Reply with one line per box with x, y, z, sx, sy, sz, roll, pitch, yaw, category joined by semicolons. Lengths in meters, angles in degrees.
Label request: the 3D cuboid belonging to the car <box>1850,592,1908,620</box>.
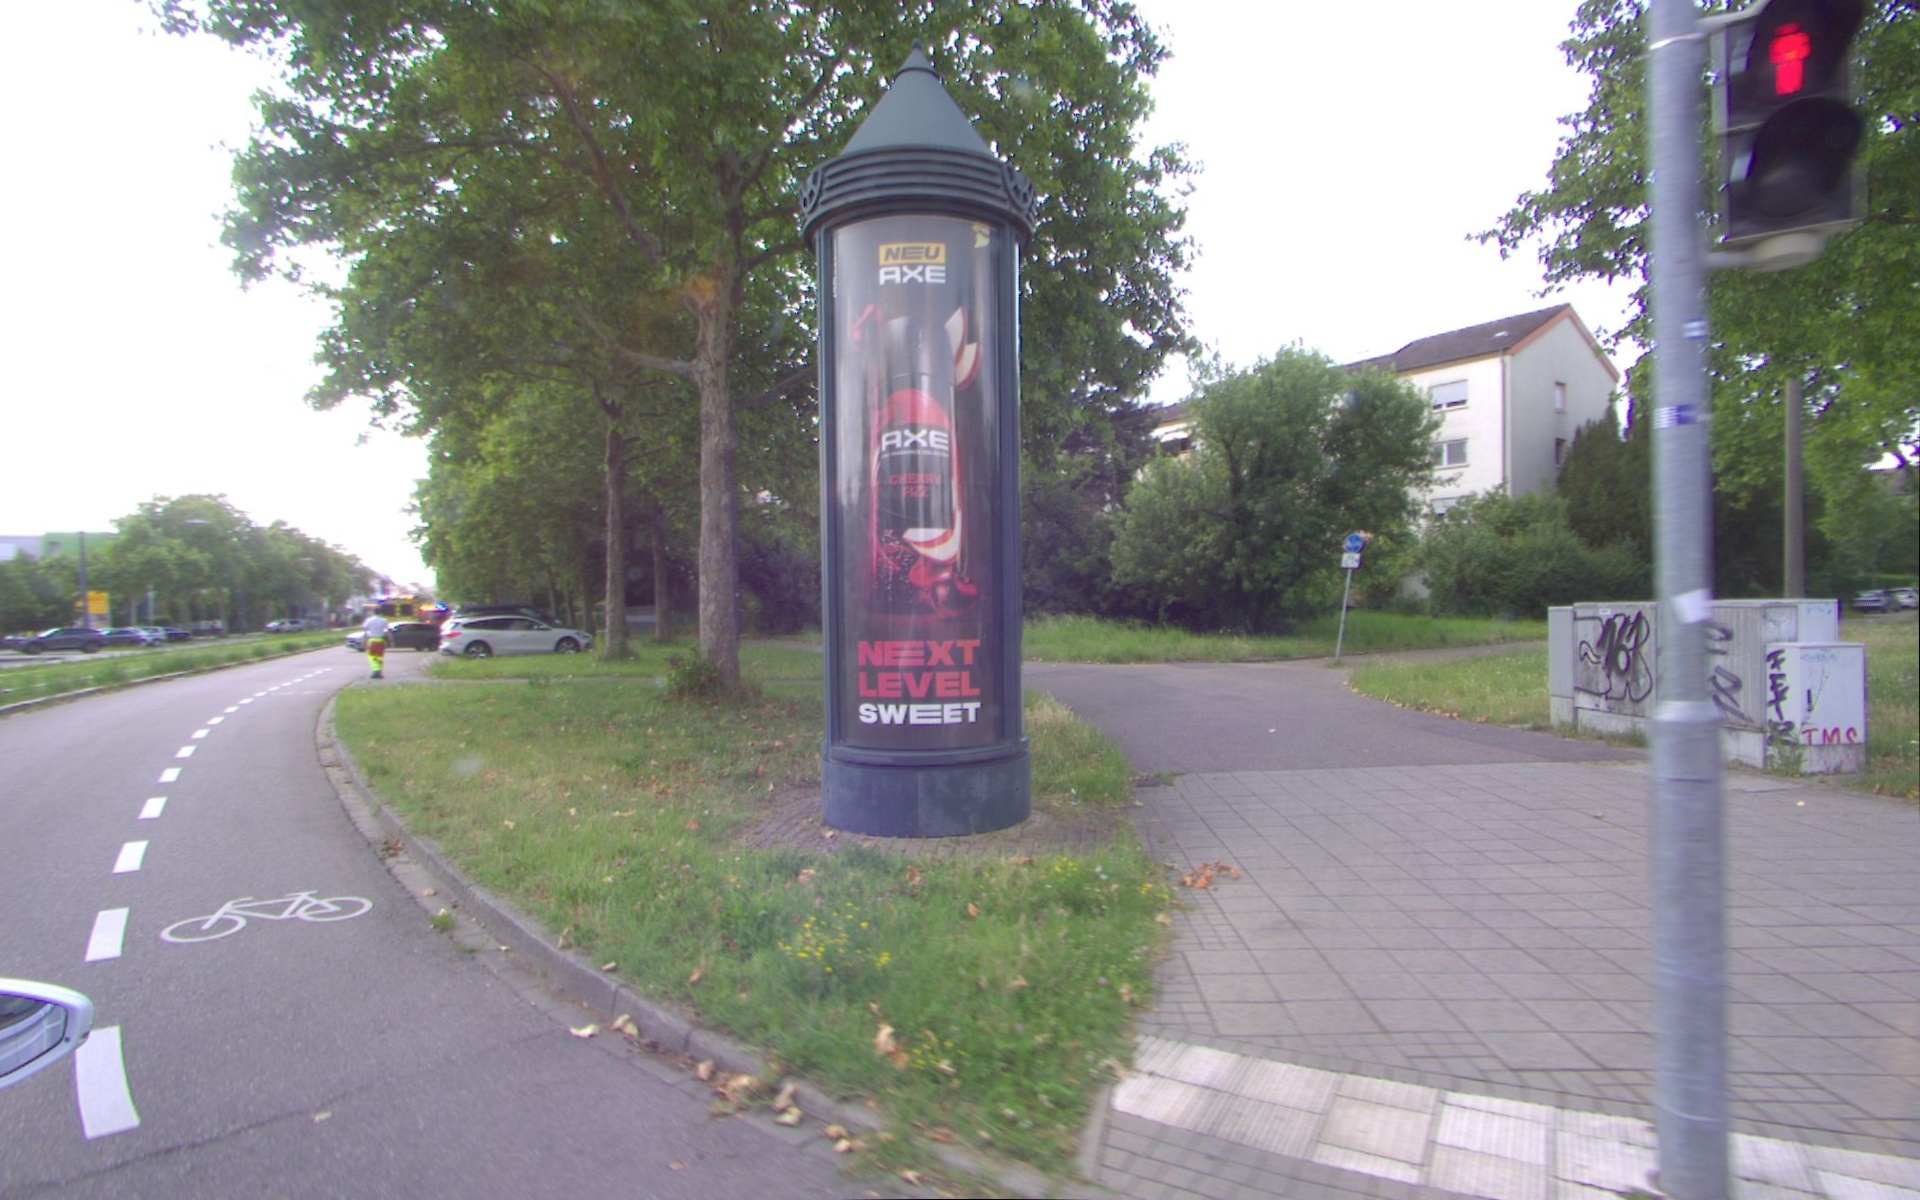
56.517;0.401;61.566;3.607;1.616;1.767;1;-2;-32;car

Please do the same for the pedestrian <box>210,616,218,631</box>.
-87.923;2.785;117.962;0.613;1.751;0.644;1;-1;-27;pedestrian

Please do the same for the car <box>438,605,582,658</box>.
-15.806;1.091;35.227;4.476;1.665;1.991;-1;-1;-29;car

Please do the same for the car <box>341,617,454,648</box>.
-27.994;1.598;49.918;1.820;1.411;4.568;-1;-1;41;car

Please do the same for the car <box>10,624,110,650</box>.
-54.471;2.198;60.664;1.879;1.382;4.281;-1;0;39;car

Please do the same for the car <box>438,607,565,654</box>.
-18.206;1.194;39.795;4.476;1.665;1.991;-1;-1;-29;car

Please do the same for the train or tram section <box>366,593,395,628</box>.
-63.787;1.166;110.156;2.461;3.644;7.378;-1;0;-32;train or tram section

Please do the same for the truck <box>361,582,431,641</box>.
-34.775;0.709;61.966;3.143;3.361;7.494;-1;0;-25;truck

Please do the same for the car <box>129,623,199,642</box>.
-65.637;2.643;82.625;1.880;1.382;4.279;-1;0;41;car

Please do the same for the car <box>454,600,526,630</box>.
-55.099;1.806;117.498;7.357;3.373;2.959;1;-2;-32;car

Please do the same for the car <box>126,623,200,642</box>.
-62.796;2.549;78.934;1.880;1.382;4.279;-1;0;41;car

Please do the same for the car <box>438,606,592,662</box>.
-14.630;1.093;32.937;4.476;1.665;1.991;-1;-1;-29;car

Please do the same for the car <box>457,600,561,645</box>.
-21.978;1.067;48.847;4.485;2.040;1.992;-1;0;-26;car

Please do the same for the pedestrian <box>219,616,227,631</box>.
-87.761;2.827;119.277;0.613;1.751;0.644;1;-1;-27;pedestrian

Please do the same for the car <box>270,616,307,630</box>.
-93.755;3.245;139.799;1.796;1.861;3.981;0;-2;32;car

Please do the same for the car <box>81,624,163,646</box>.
-60.773;2.522;72.661;1.880;1.382;4.279;-1;0;41;car

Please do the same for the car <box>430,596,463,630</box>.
-53.154;1.441;103.702;2.931;3.373;7.427;1;-2;-28;car

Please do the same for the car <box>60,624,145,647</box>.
-59.534;2.439;69.581;1.880;1.382;4.279;-1;0;41;car

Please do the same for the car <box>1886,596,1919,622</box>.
63.695;0.612;66.910;3.607;1.616;1.767;1;-2;-32;car

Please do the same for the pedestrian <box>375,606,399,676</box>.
-14.189;1.005;24.804;0.487;1.706;0.584;-1;0;-29;pedestrian

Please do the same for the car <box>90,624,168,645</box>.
-62.098;2.581;74.880;1.880;1.382;4.279;-1;0;41;car

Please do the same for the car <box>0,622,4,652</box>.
-50.578;1.873;49.870;1.840;1.523;4.136;-1;-1;41;car
